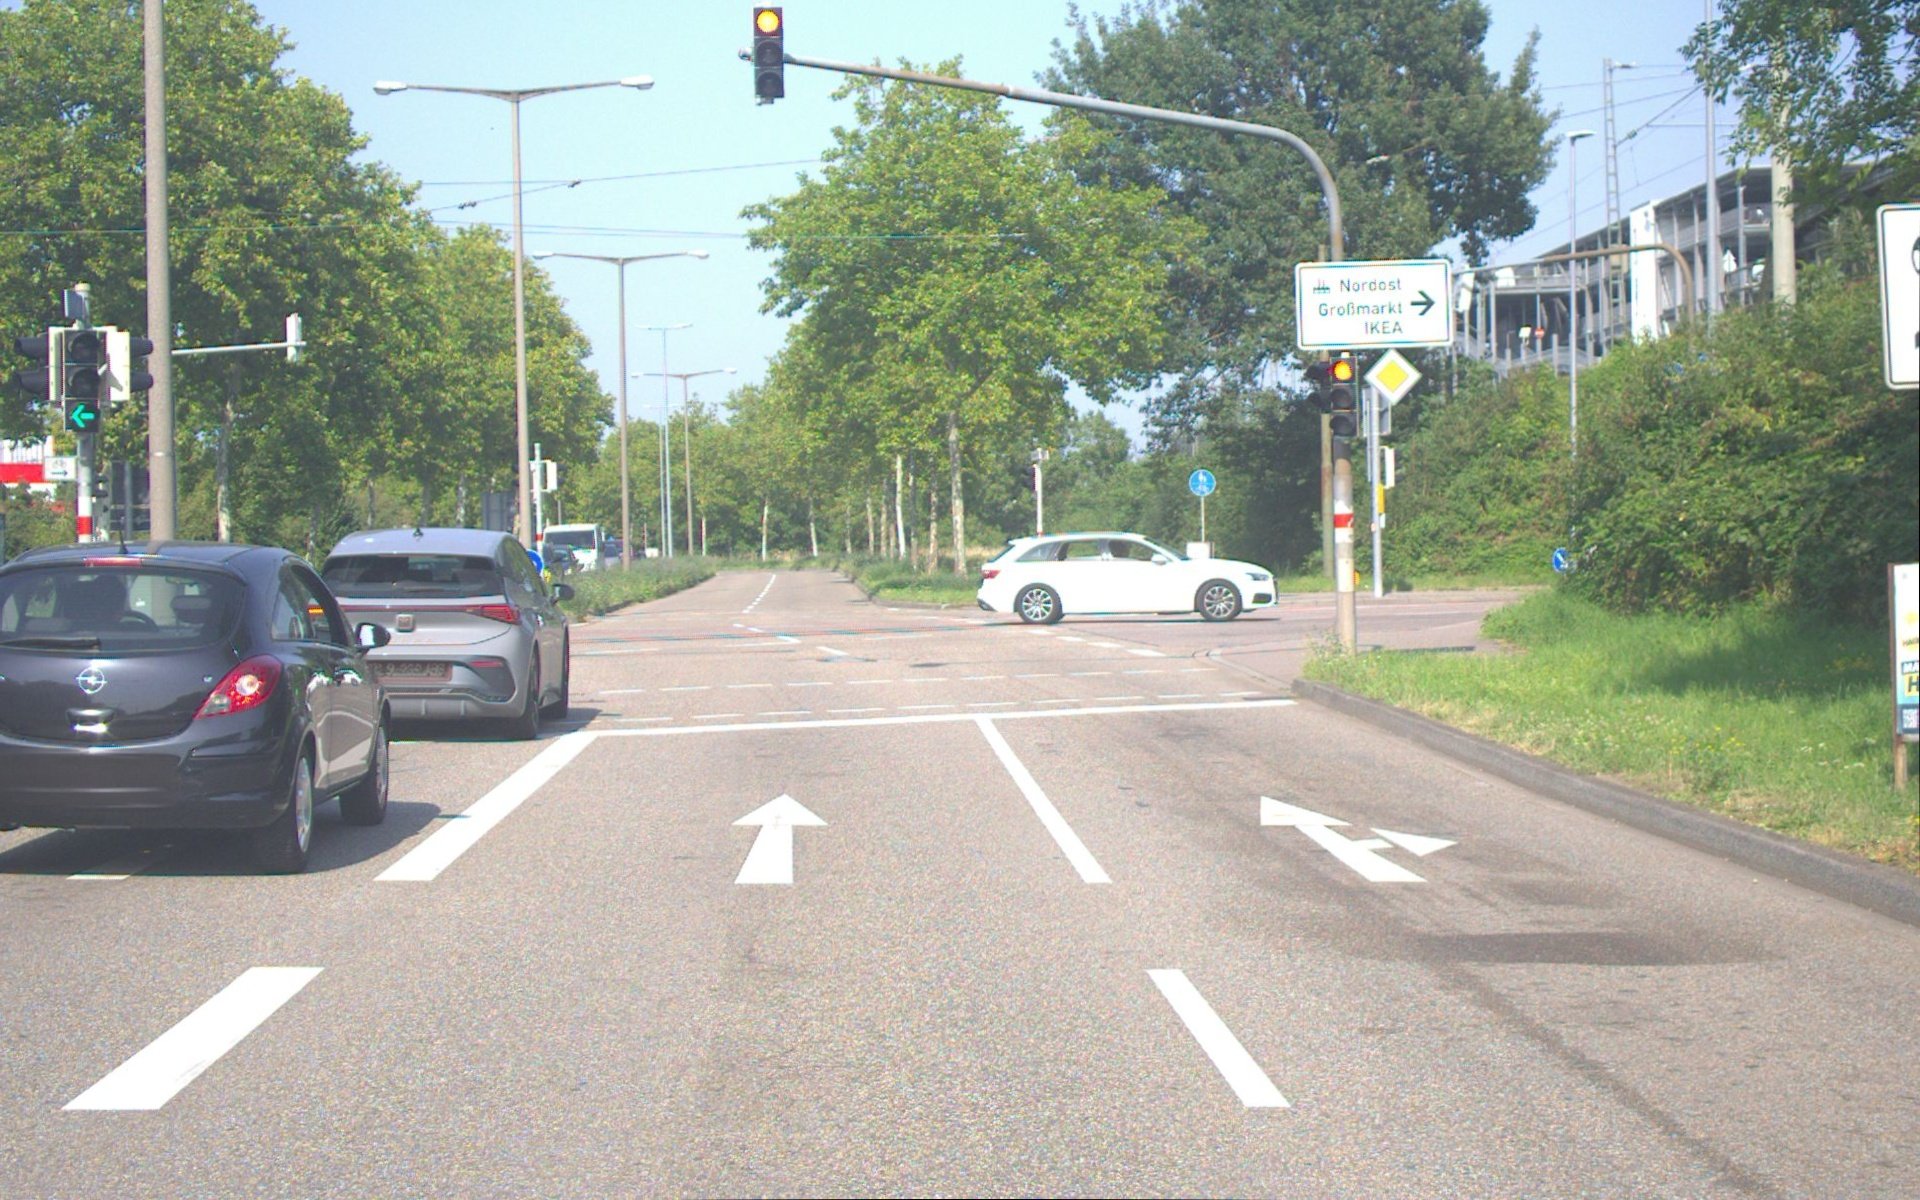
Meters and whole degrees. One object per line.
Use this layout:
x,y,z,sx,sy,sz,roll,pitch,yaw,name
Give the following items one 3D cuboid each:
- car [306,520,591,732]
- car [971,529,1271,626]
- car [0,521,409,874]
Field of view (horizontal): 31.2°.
-3.792,0.144,26.052,1.692,1.480,4.001,0,1,-2,car
2.560,-0.367,54.257,4.609,1.481,1.697,1,1,7,car
-3.747,0.378,16.475,1.692,1.481,4.000,0,1,-2,car
